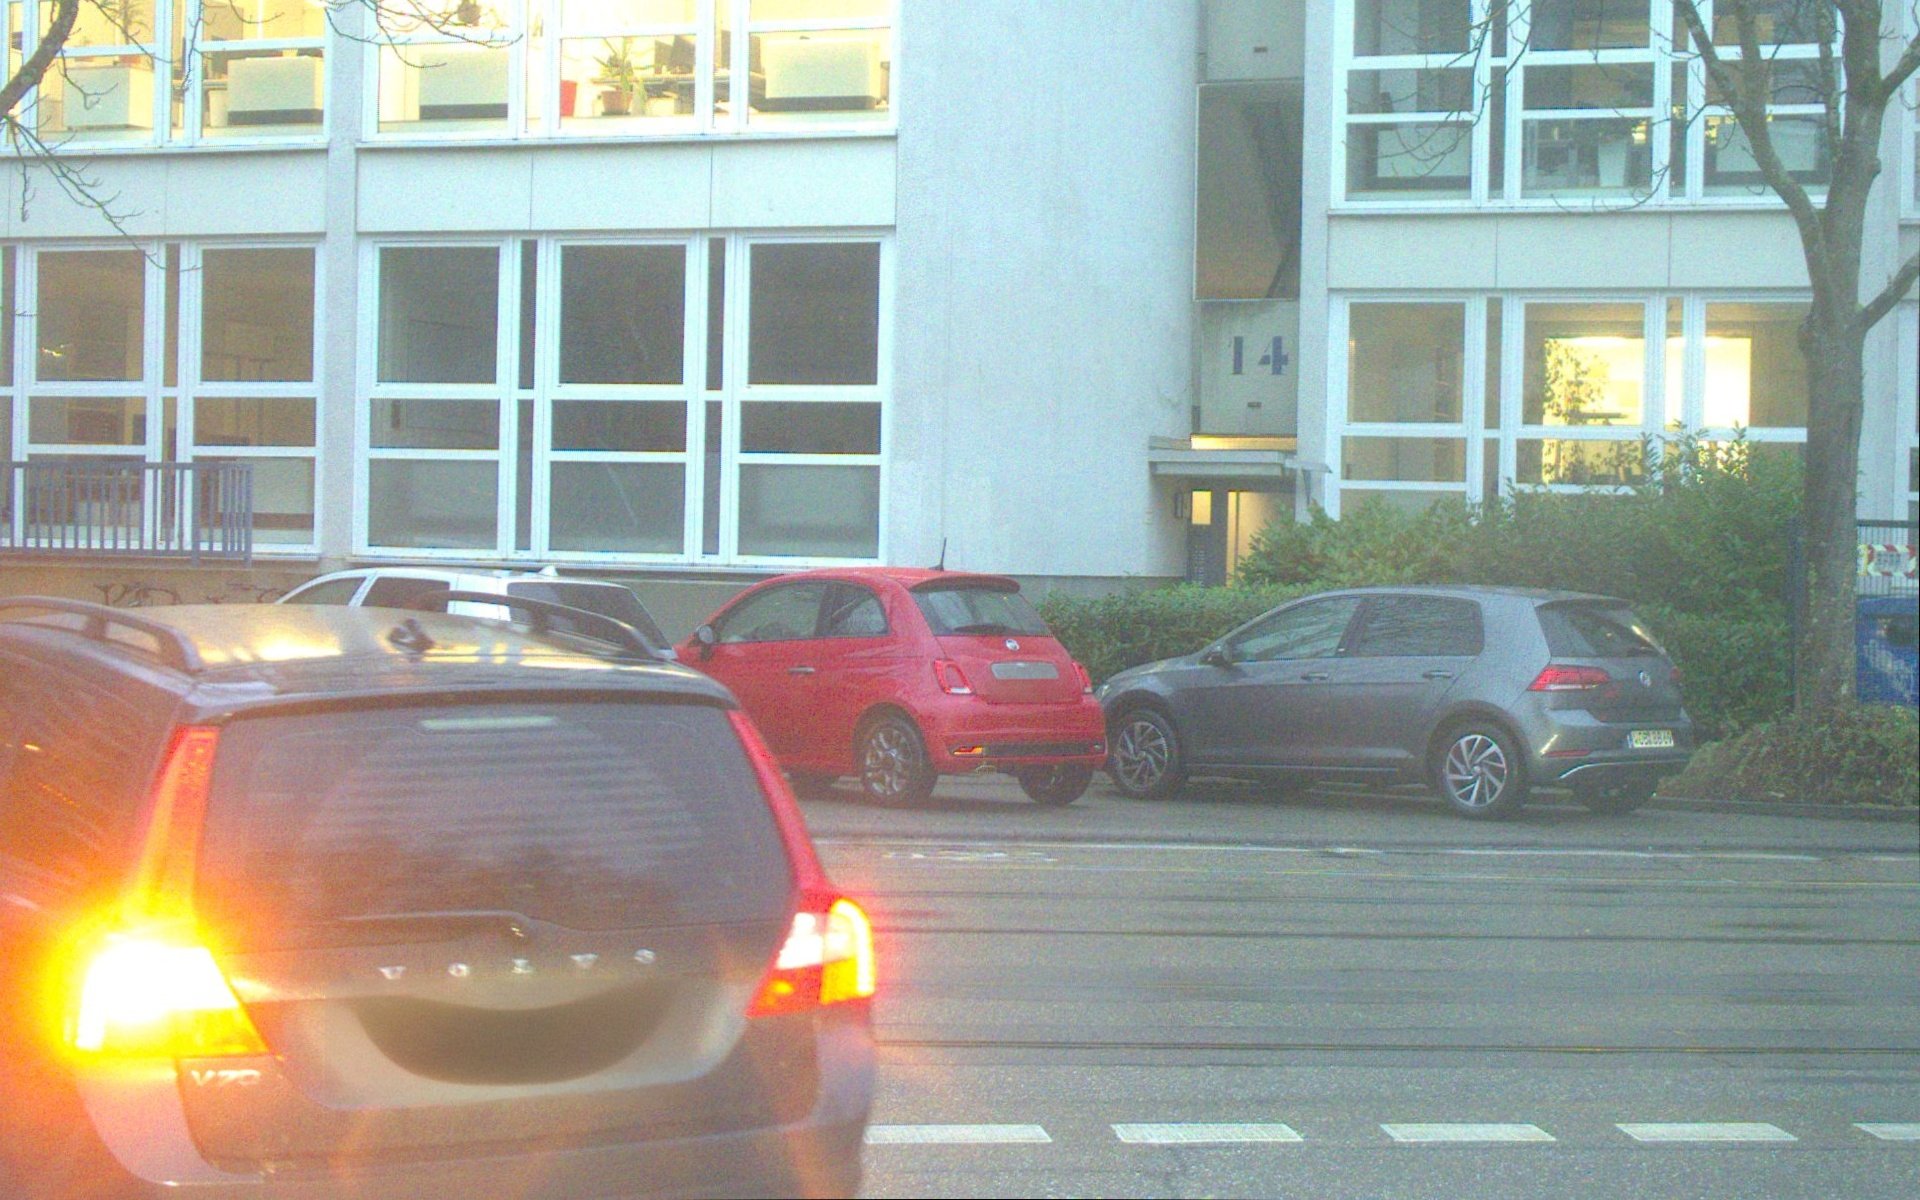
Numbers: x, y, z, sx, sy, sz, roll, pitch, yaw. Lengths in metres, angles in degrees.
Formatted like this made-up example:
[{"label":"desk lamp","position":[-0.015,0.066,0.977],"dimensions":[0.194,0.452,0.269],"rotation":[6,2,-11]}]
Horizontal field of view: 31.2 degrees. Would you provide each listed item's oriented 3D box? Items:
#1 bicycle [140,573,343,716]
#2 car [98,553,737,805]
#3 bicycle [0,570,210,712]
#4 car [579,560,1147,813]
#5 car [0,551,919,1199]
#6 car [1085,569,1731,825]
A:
[{"label":"bicycle","position":[-5.844,0.344,28.089],"dimensions":[0.640,1.117,2.204],"rotation":[1,1,17]},{"label":"car","position":[-3.518,0.444,21.972],"dimensions":[3.996,1.441,1.789],"rotation":[1,1,38]},{"label":"bicycle","position":[-7.035,0.320,28.419],"dimensions":[0.640,1.117,2.204],"rotation":[1,1,17]},{"label":"car","position":[-0.674,0.507,22.360],"dimensions":[3.448,1.487,1.725],"rotation":[1,1,42]},{"label":"car","position":[-1.808,0.697,8.213],"dimensions":[1.747,1.539,4.296],"rotation":[0,2,-26]},{"label":"car","position":[2.852,0.567,22.341],"dimensions":[3.850,1.487,1.692],"rotation":[1,1,41]}]
